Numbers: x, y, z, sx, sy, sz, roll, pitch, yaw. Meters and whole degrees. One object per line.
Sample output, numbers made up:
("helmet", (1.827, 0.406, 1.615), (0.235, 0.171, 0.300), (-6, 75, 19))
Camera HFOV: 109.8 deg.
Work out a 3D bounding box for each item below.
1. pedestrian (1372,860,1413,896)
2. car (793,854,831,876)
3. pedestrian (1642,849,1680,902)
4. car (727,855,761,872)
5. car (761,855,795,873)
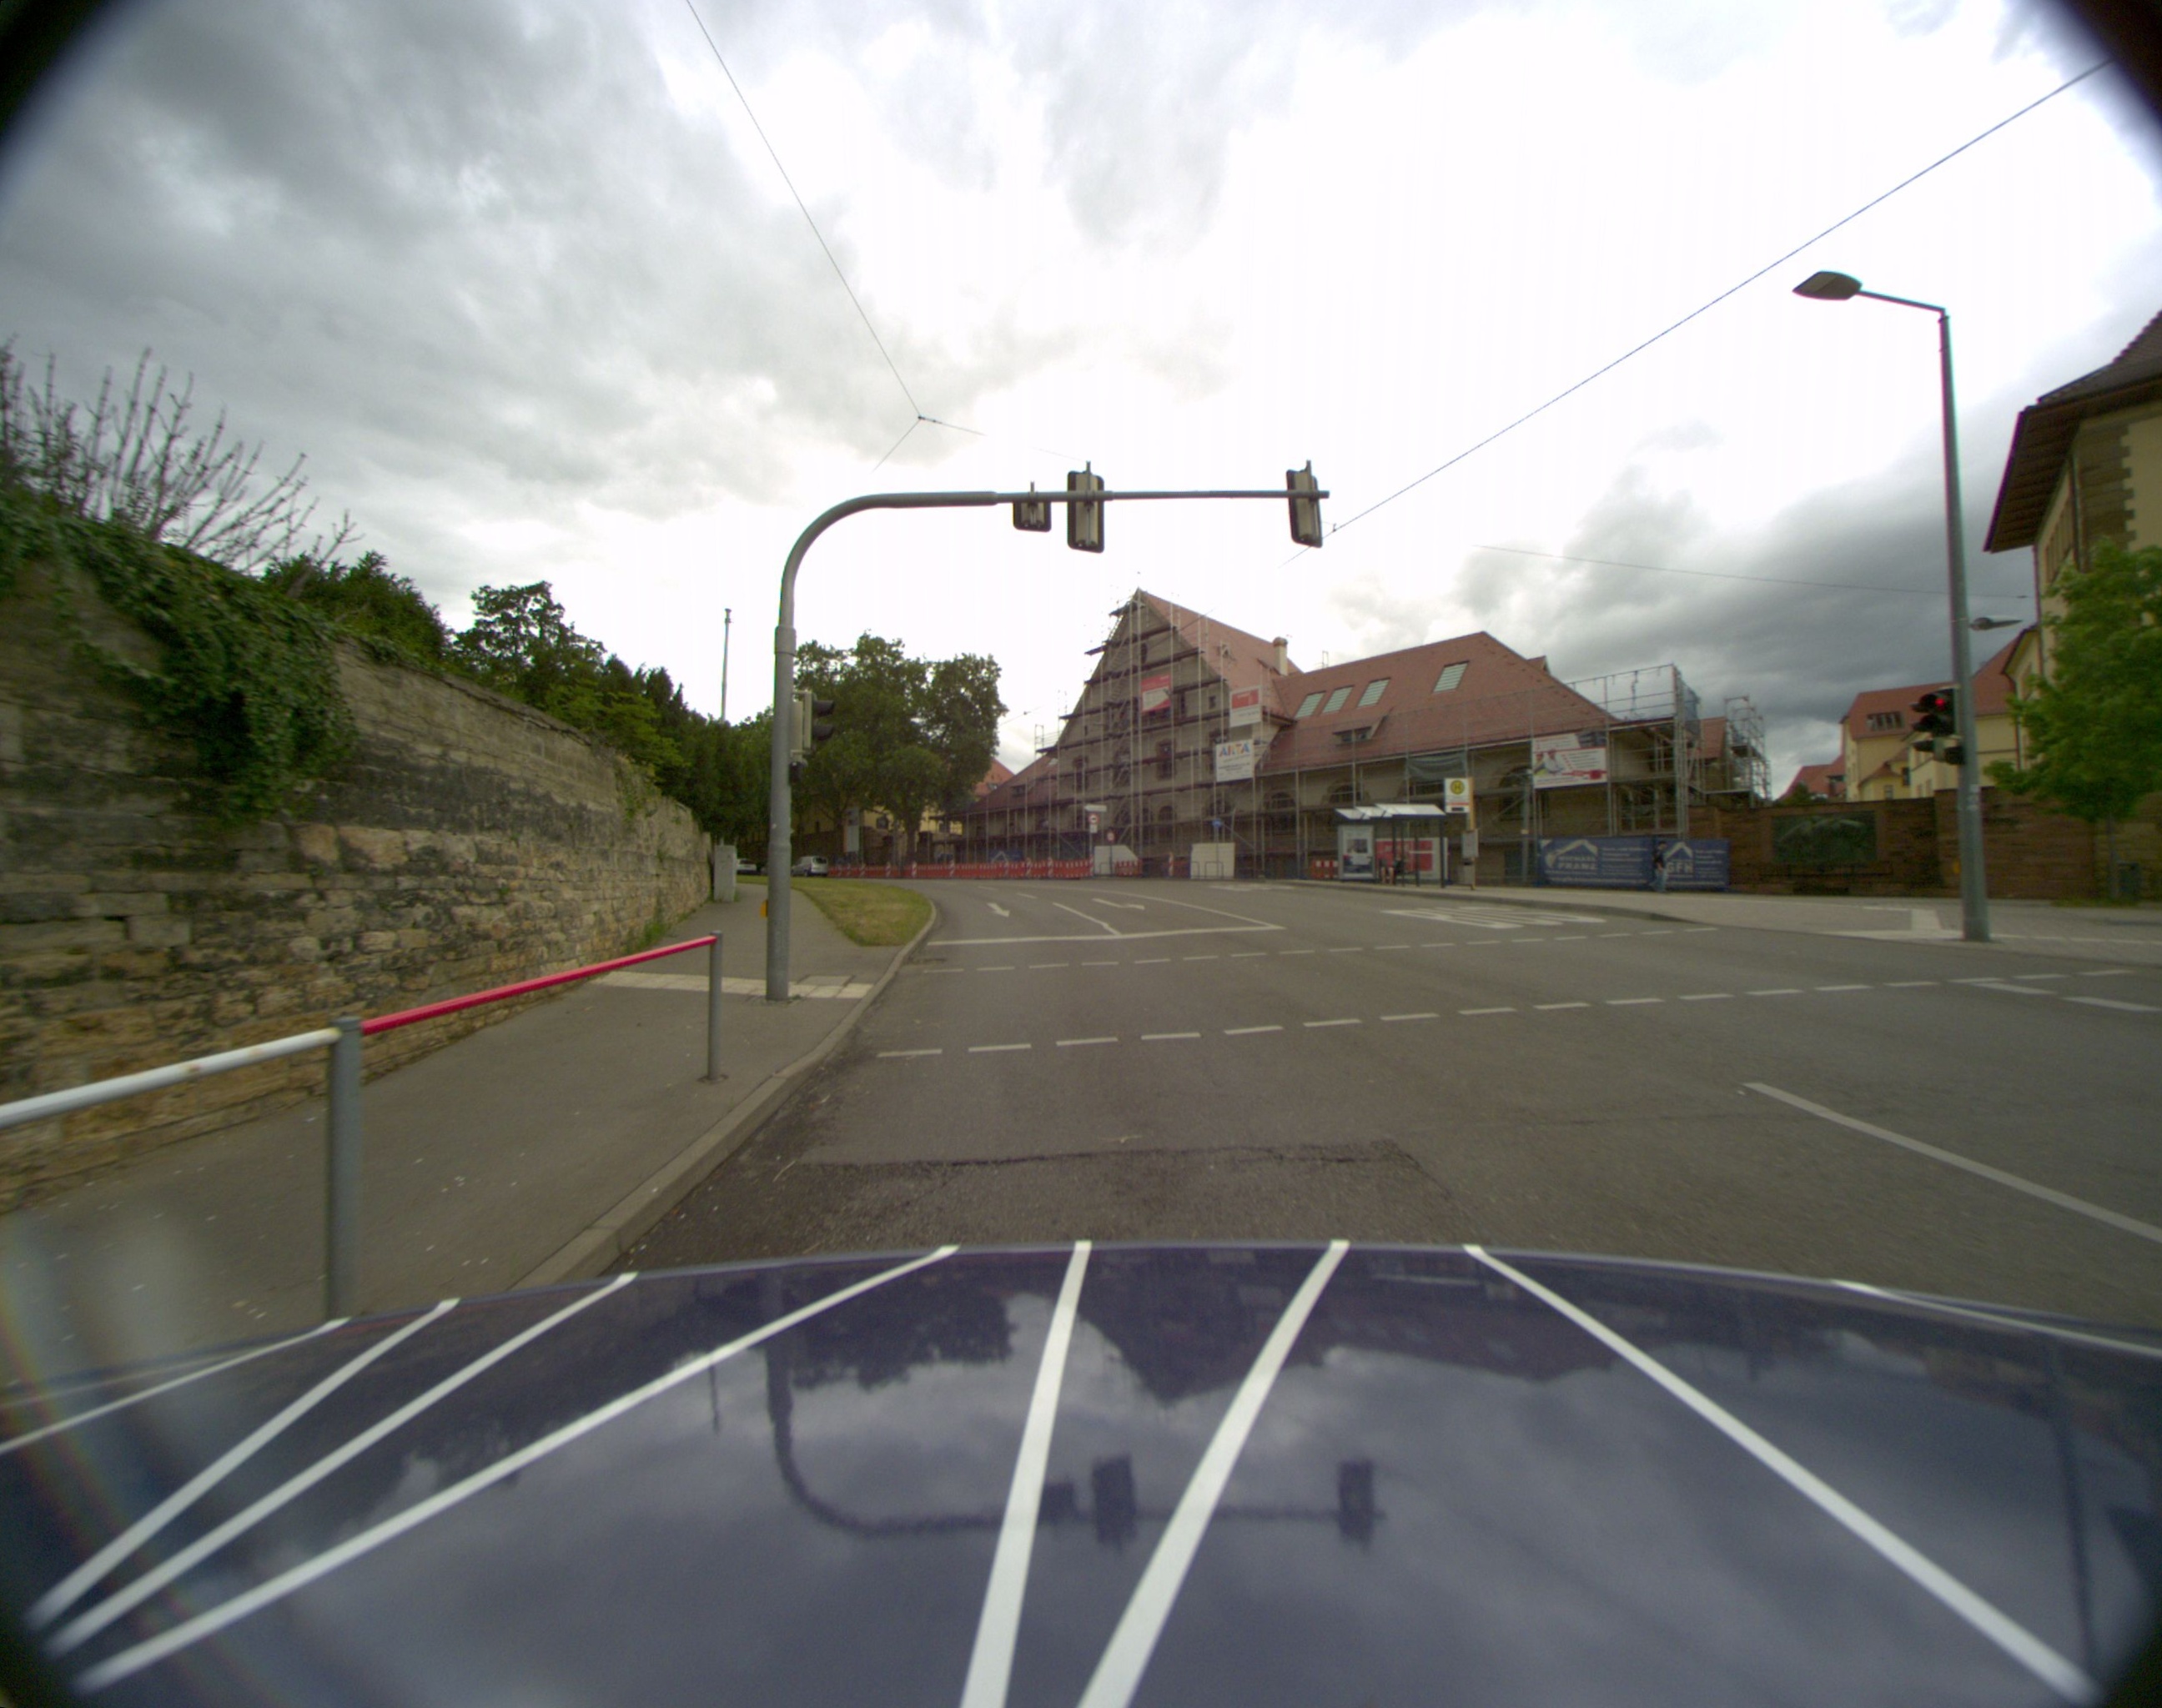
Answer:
("pedestrian", (10.785, 0.830, 26.328), (0.936, 1.185, 0.904), (2, 0, -14))
("car", (-21.713, 0.860, 61.276), (1.701, 1.605, 4.072), (-1, 1, -38))
("pedestrian", (19.402, 0.699, 25.417), (0.927, 1.710, 0.796), (-1, 1, -40))
("car", (-32.424, 0.933, 73.096), (1.801, 1.601, 4.496), (1, -2, -40))
("car", (-31.603, 1.039, 79.268), (1.844, 1.865, 4.404), (2, -2, -42))
